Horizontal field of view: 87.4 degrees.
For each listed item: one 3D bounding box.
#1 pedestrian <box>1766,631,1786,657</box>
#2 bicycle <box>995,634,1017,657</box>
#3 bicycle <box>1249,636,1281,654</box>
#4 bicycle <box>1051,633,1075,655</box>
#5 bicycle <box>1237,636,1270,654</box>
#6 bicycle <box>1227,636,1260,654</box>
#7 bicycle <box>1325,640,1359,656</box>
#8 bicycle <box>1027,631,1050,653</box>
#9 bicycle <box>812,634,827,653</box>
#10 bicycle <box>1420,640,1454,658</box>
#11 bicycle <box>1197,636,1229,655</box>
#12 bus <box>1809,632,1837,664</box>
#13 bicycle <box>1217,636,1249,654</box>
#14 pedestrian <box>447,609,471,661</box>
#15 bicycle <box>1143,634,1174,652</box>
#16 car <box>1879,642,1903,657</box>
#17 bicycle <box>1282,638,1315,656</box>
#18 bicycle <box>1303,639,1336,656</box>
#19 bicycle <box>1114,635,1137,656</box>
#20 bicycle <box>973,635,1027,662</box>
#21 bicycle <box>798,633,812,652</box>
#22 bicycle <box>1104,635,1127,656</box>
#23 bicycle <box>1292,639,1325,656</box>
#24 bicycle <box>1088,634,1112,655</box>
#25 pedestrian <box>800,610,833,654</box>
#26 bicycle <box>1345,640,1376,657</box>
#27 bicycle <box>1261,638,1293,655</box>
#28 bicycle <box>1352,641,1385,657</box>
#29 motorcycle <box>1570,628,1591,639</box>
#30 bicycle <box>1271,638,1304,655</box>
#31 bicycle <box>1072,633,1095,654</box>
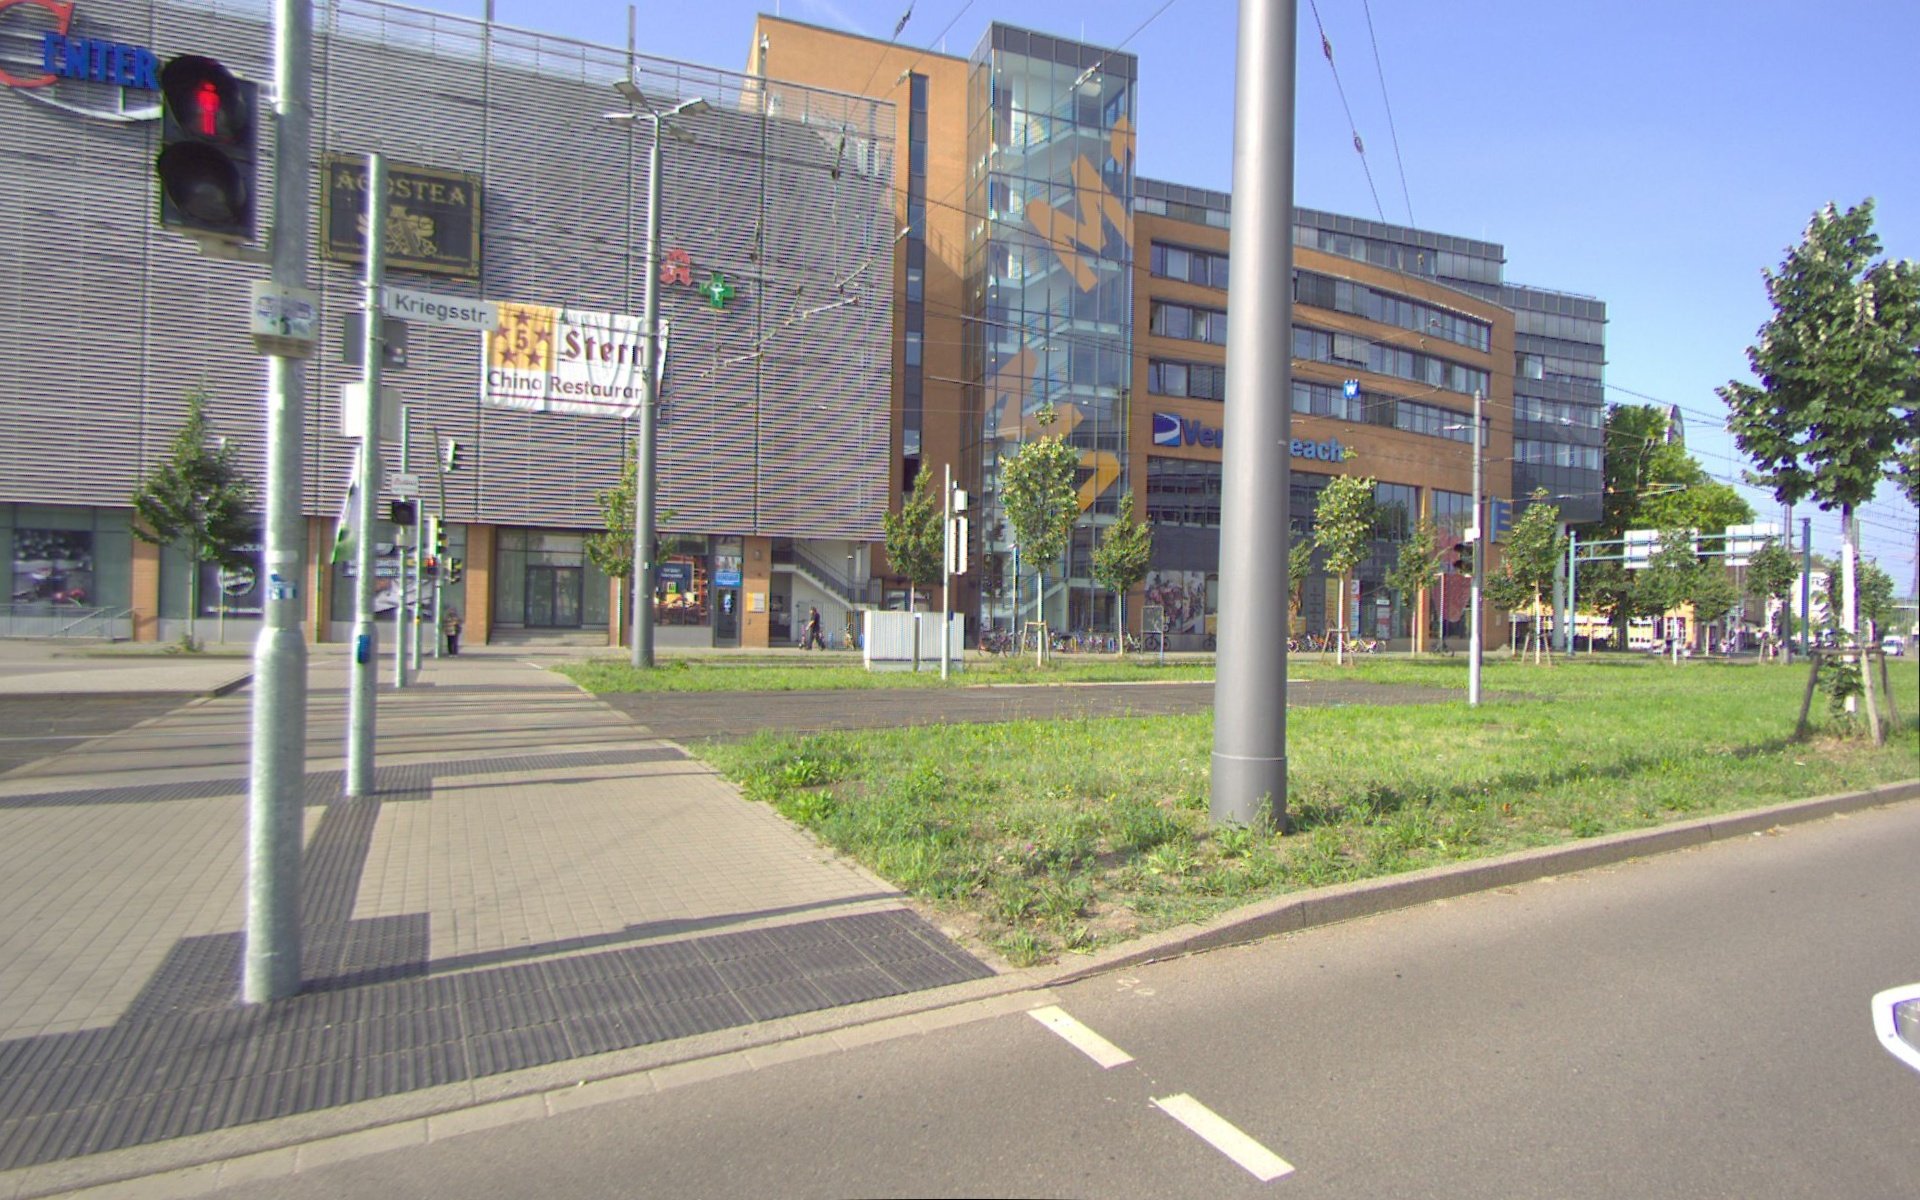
[{"bbox_3d":[64.230,3.449,79.024,1.143,2.040,0.772,0,-3,44],"label":"pedestrian"},{"bbox_3d":[2.083,2.049,45.380,0.405,0.952,1.577,1,-1,-20],"label":"bicycle"},{"bbox_3d":[17.303,2.566,57.041,0.565,0.934,2.042,2,-1,-24],"label":"bicycle"},{"bbox_3d":[4.757,2.018,46.510,0.465,0.952,1.577,1,-1,-20],"label":"bicycle"},{"bbox_3d":[16.557,2.550,56.677,0.565,0.934,2.042,2,-1,-24],"label":"bicycle"},{"bbox_3d":[15.860,2.529,56.281,0.565,0.934,2.042,2,-1,-24],"label":"bicycle"},{"bbox_3d":[22.698,2.845,59.700,0.565,0.934,2.042,2,-1,-24],"label":"bicycle"},{"bbox_3d":[3.601,1.914,46.245,0.405,0.952,1.577,1,-1,-20],"label":"bicycle"},{"bbox_3d":[-5.896,1.824,42.193,0.445,0.762,1.002,1,-1,-18],"label":"bicycle"},{"bbox_3d":[26.654,2.715,56.139,0.699,0.919,1.673,2,-1,-21],"label":"bicycle"},{"bbox_3d":[13.910,2.498,55.272,0.565,0.934,2.042,2,-1,-24],"label":"bicycle"},{"bbox_3d":[118.120,6.648,137.479,2.715,3.972,12.158,1,-3,41],"label":"bus"},{"bbox_3d":[15.167,2.484,55.910,0.565,0.934,2.042,2,-1,-24],"label":"bicycle"},{"bbox_3d":[-15.576,1.086,31.260,0.581,1.600,0.759,1,0,-23],"label":"pedestrian"},{"bbox_3d":[10.612,2.302,53.777,0.565,0.934,2.042,2,-1,-24],"label":"bicycle"},{"bbox_3d":[105.792,5.613,114.134,3.422,1.562,1.714,4,-3,-41],"label":"car"},{"bbox_3d":[19.608,2.714,58.254,0.565,0.934,2.042,2,-1,-24],"label":"bicycle"},{"bbox_3d":[21.148,2.764,59.130,0.565,0.934,2.042,2,-1,-24],"label":"bicycle"},{"bbox_3d":[8.160,2.238,49.639,0.405,0.952,1.577,1,-1,-20],"label":"bicycle"},{"bbox_3d":[1.619,1.972,40.859,2.125,1.001,0.444,3,-2,-11],"label":"bicycle"},{"bbox_3d":[-6.482,1.791,41.993,0.445,0.762,1.002,1,-1,-18],"label":"bicycle"},{"bbox_3d":[7.602,2.210,49.015,0.405,0.952,1.577,1,-1,-19],"label":"bicycle"},{"bbox_3d":[20.369,2.771,58.697,0.565,0.934,2.042,2,-1,-24],"label":"bicycle"},{"bbox_3d":[6.685,2.134,47.988,0.405,0.952,1.577,1,-1,-20],"label":"bicycle"},{"bbox_3d":[-5.909,1.315,41.310,1.158,1.742,0.816,1,-1,-20],"label":"pedestrian"},{"bbox_3d":[24.095,2.914,60.532,0.375,0.934,2.042,2,-1,-24],"label":"bicycle"},{"bbox_3d":[18.118,2.643,57.434,0.565,0.934,2.042,2,-1,-24],"label":"bicycle"},{"bbox_3d":[24.733,2.954,60.881,0.565,0.934,2.042,2,-1,-24],"label":"bicycle"},{"bbox_3d":[60.439,3.256,97.825,0.282,1.009,1.674,0,0,-43],"label":"motorcycle"},{"bbox_3d":[18.851,2.663,57.872,0.565,0.934,2.042,2,-1,-24],"label":"bicycle"},{"bbox_3d":[5.924,2.091,48.260,0.405,0.952,1.577,1,-1,-20],"label":"bicycle"}]
